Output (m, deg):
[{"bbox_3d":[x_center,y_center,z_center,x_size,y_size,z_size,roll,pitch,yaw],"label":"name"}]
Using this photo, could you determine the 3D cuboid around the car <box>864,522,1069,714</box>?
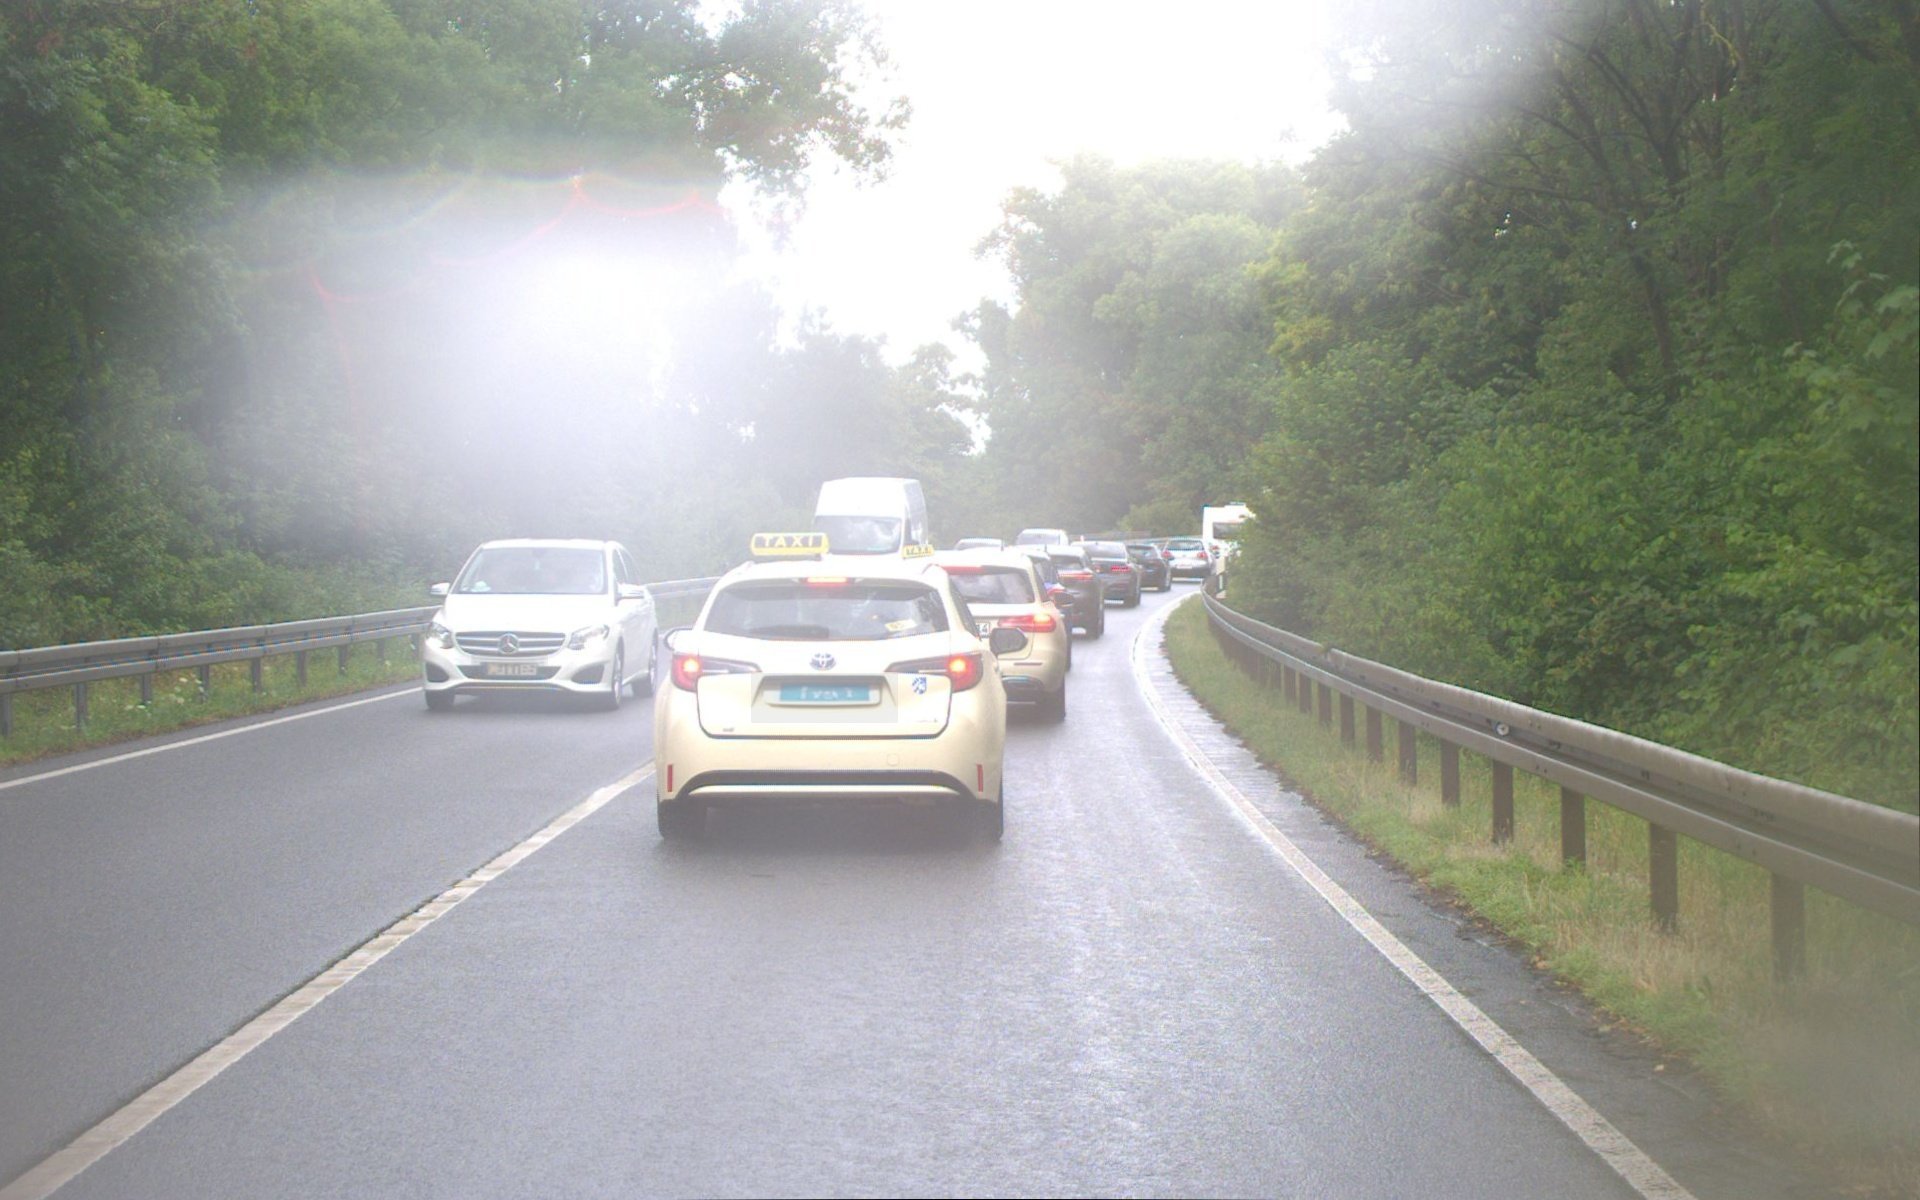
[{"bbox_3d":[0.114,0.141,30.635,1.667,1.575,3.892,1,0,2],"label":"car"}]

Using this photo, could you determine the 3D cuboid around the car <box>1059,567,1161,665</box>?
[{"bbox_3d":[2.438,0.245,56.253,1.611,1.541,3.814,0,0,2],"label":"car"}]

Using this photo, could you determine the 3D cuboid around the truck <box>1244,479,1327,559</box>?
[{"bbox_3d":[15.603,-3.842,164.488,3.109,3.668,6.996,1,0,12],"label":"truck"}]

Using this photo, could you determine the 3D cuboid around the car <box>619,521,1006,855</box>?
[{"bbox_3d":[-0.703,0.411,18.552,1.834,1.575,4.157,1,0,0],"label":"car"}]

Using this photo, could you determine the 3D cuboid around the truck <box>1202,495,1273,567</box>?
[{"bbox_3d":[11.029,-2.719,137.201,2.550,2.704,7.534,1,0,3],"label":"truck"}]

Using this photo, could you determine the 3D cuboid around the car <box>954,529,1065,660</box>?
[{"bbox_3d":[0.611,-0.072,42.463,1.300,1.541,3.260,1,0,1],"label":"car"}]

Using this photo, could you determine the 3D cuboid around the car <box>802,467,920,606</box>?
[{"bbox_3d":[-1.947,-1.233,69.327,2.048,2.667,6.171,0,0,1],"label":"car"}]

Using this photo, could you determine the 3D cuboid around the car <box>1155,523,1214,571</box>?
[{"bbox_3d":[7.499,-1.757,114.603,1.770,1.541,3.813,1,0,7],"label":"car"}]

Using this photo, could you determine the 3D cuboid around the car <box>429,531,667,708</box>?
[{"bbox_3d":[-3.853,0.132,32.794,1.691,1.550,4.442,1,1,0],"label":"car"}]

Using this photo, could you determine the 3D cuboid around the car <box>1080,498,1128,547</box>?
[{"bbox_3d":[6.144,-3.279,146.277,1.994,2.007,4.000,1,0,3],"label":"car"}]

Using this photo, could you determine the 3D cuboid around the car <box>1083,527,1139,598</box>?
[{"bbox_3d":[3.397,-0.833,77.280,1.167,1.541,2.604,1,0,4],"label":"car"}]

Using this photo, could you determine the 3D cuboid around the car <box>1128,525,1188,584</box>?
[{"bbox_3d":[5.530,-1.253,95.658,1.616,1.607,3.621,1,0,4],"label":"car"}]
